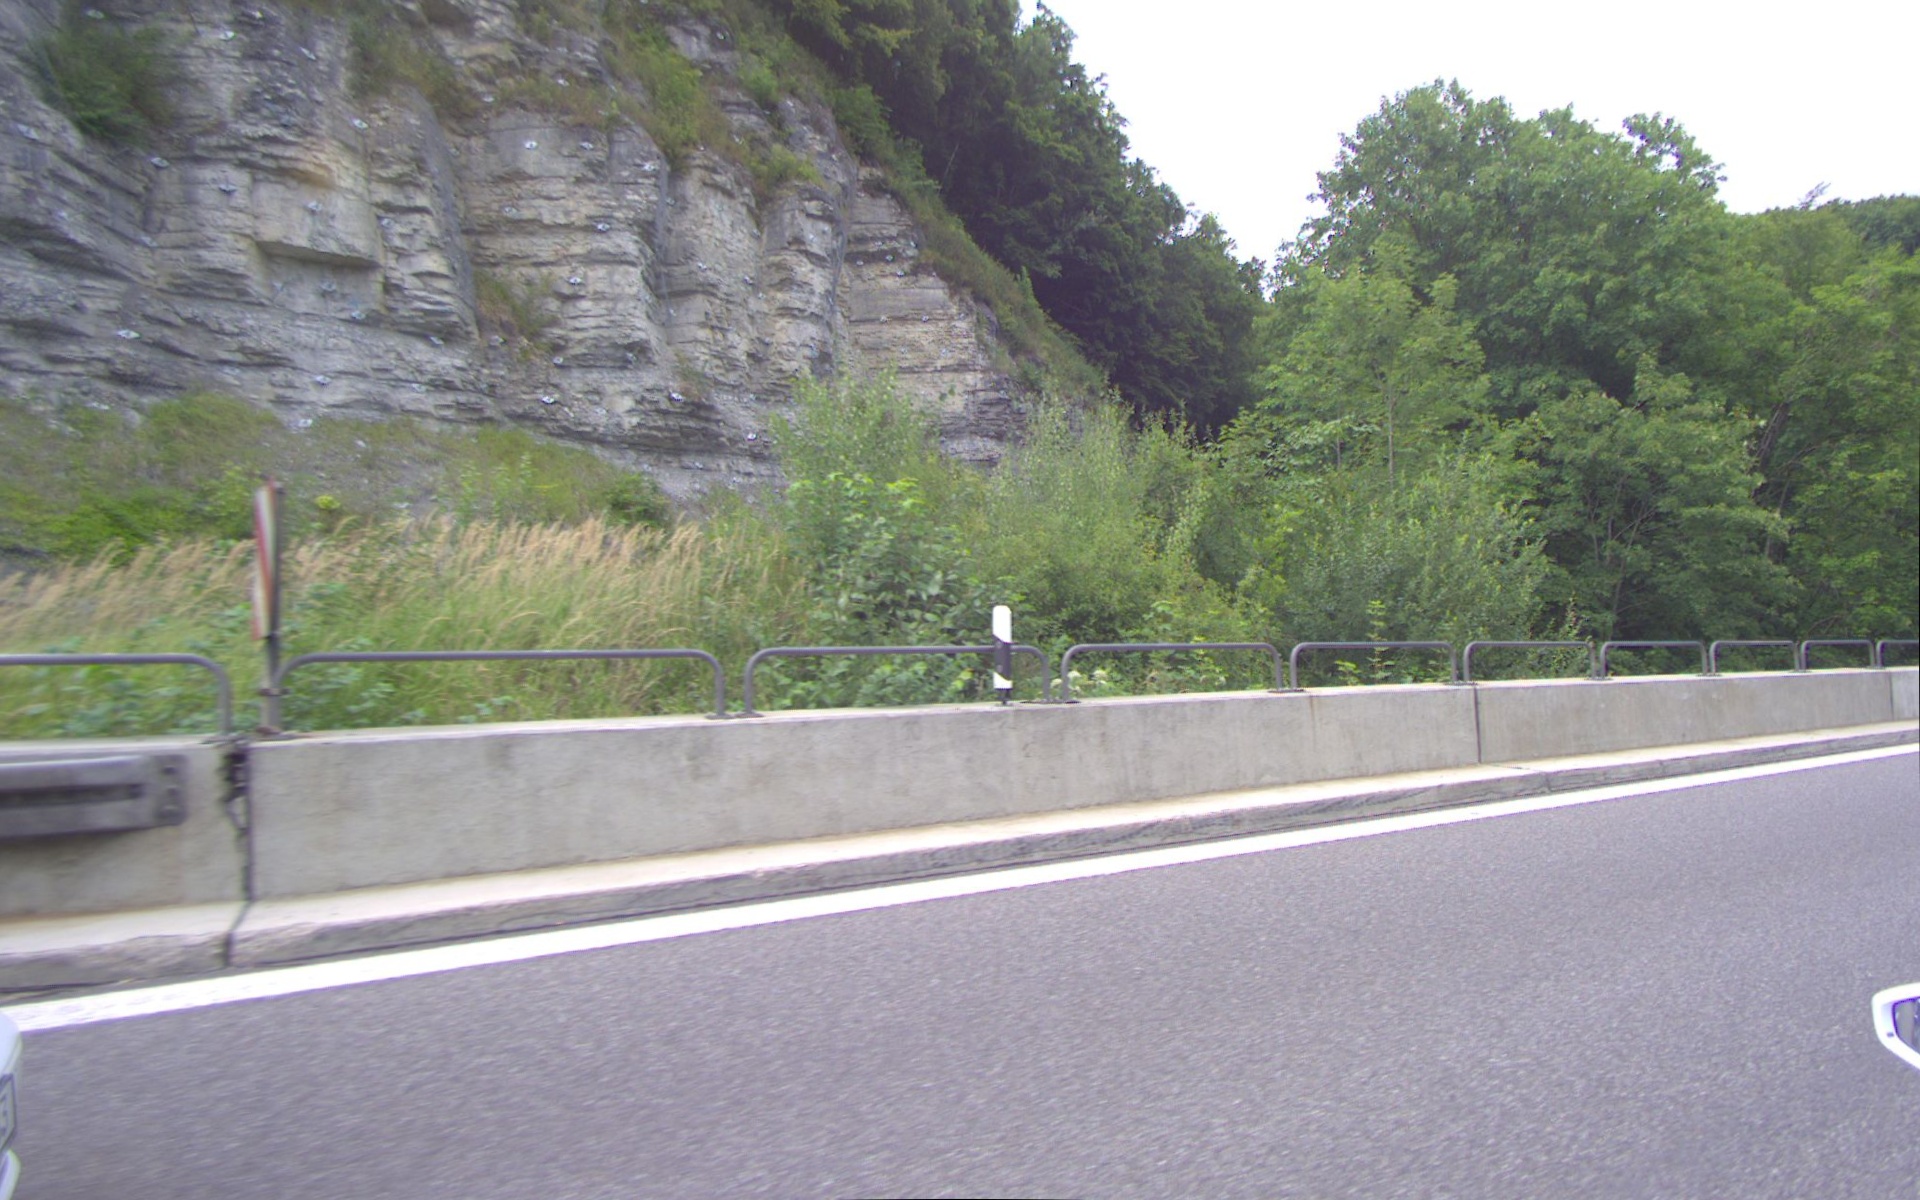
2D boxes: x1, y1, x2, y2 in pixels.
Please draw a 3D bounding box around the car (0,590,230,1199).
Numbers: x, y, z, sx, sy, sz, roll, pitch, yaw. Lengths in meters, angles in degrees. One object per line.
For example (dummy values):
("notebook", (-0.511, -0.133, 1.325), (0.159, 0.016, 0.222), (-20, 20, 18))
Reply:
("car", (-3.596, 0.688, 0.843), (4.571, 1.501, 1.837), (2, -1, -29))
